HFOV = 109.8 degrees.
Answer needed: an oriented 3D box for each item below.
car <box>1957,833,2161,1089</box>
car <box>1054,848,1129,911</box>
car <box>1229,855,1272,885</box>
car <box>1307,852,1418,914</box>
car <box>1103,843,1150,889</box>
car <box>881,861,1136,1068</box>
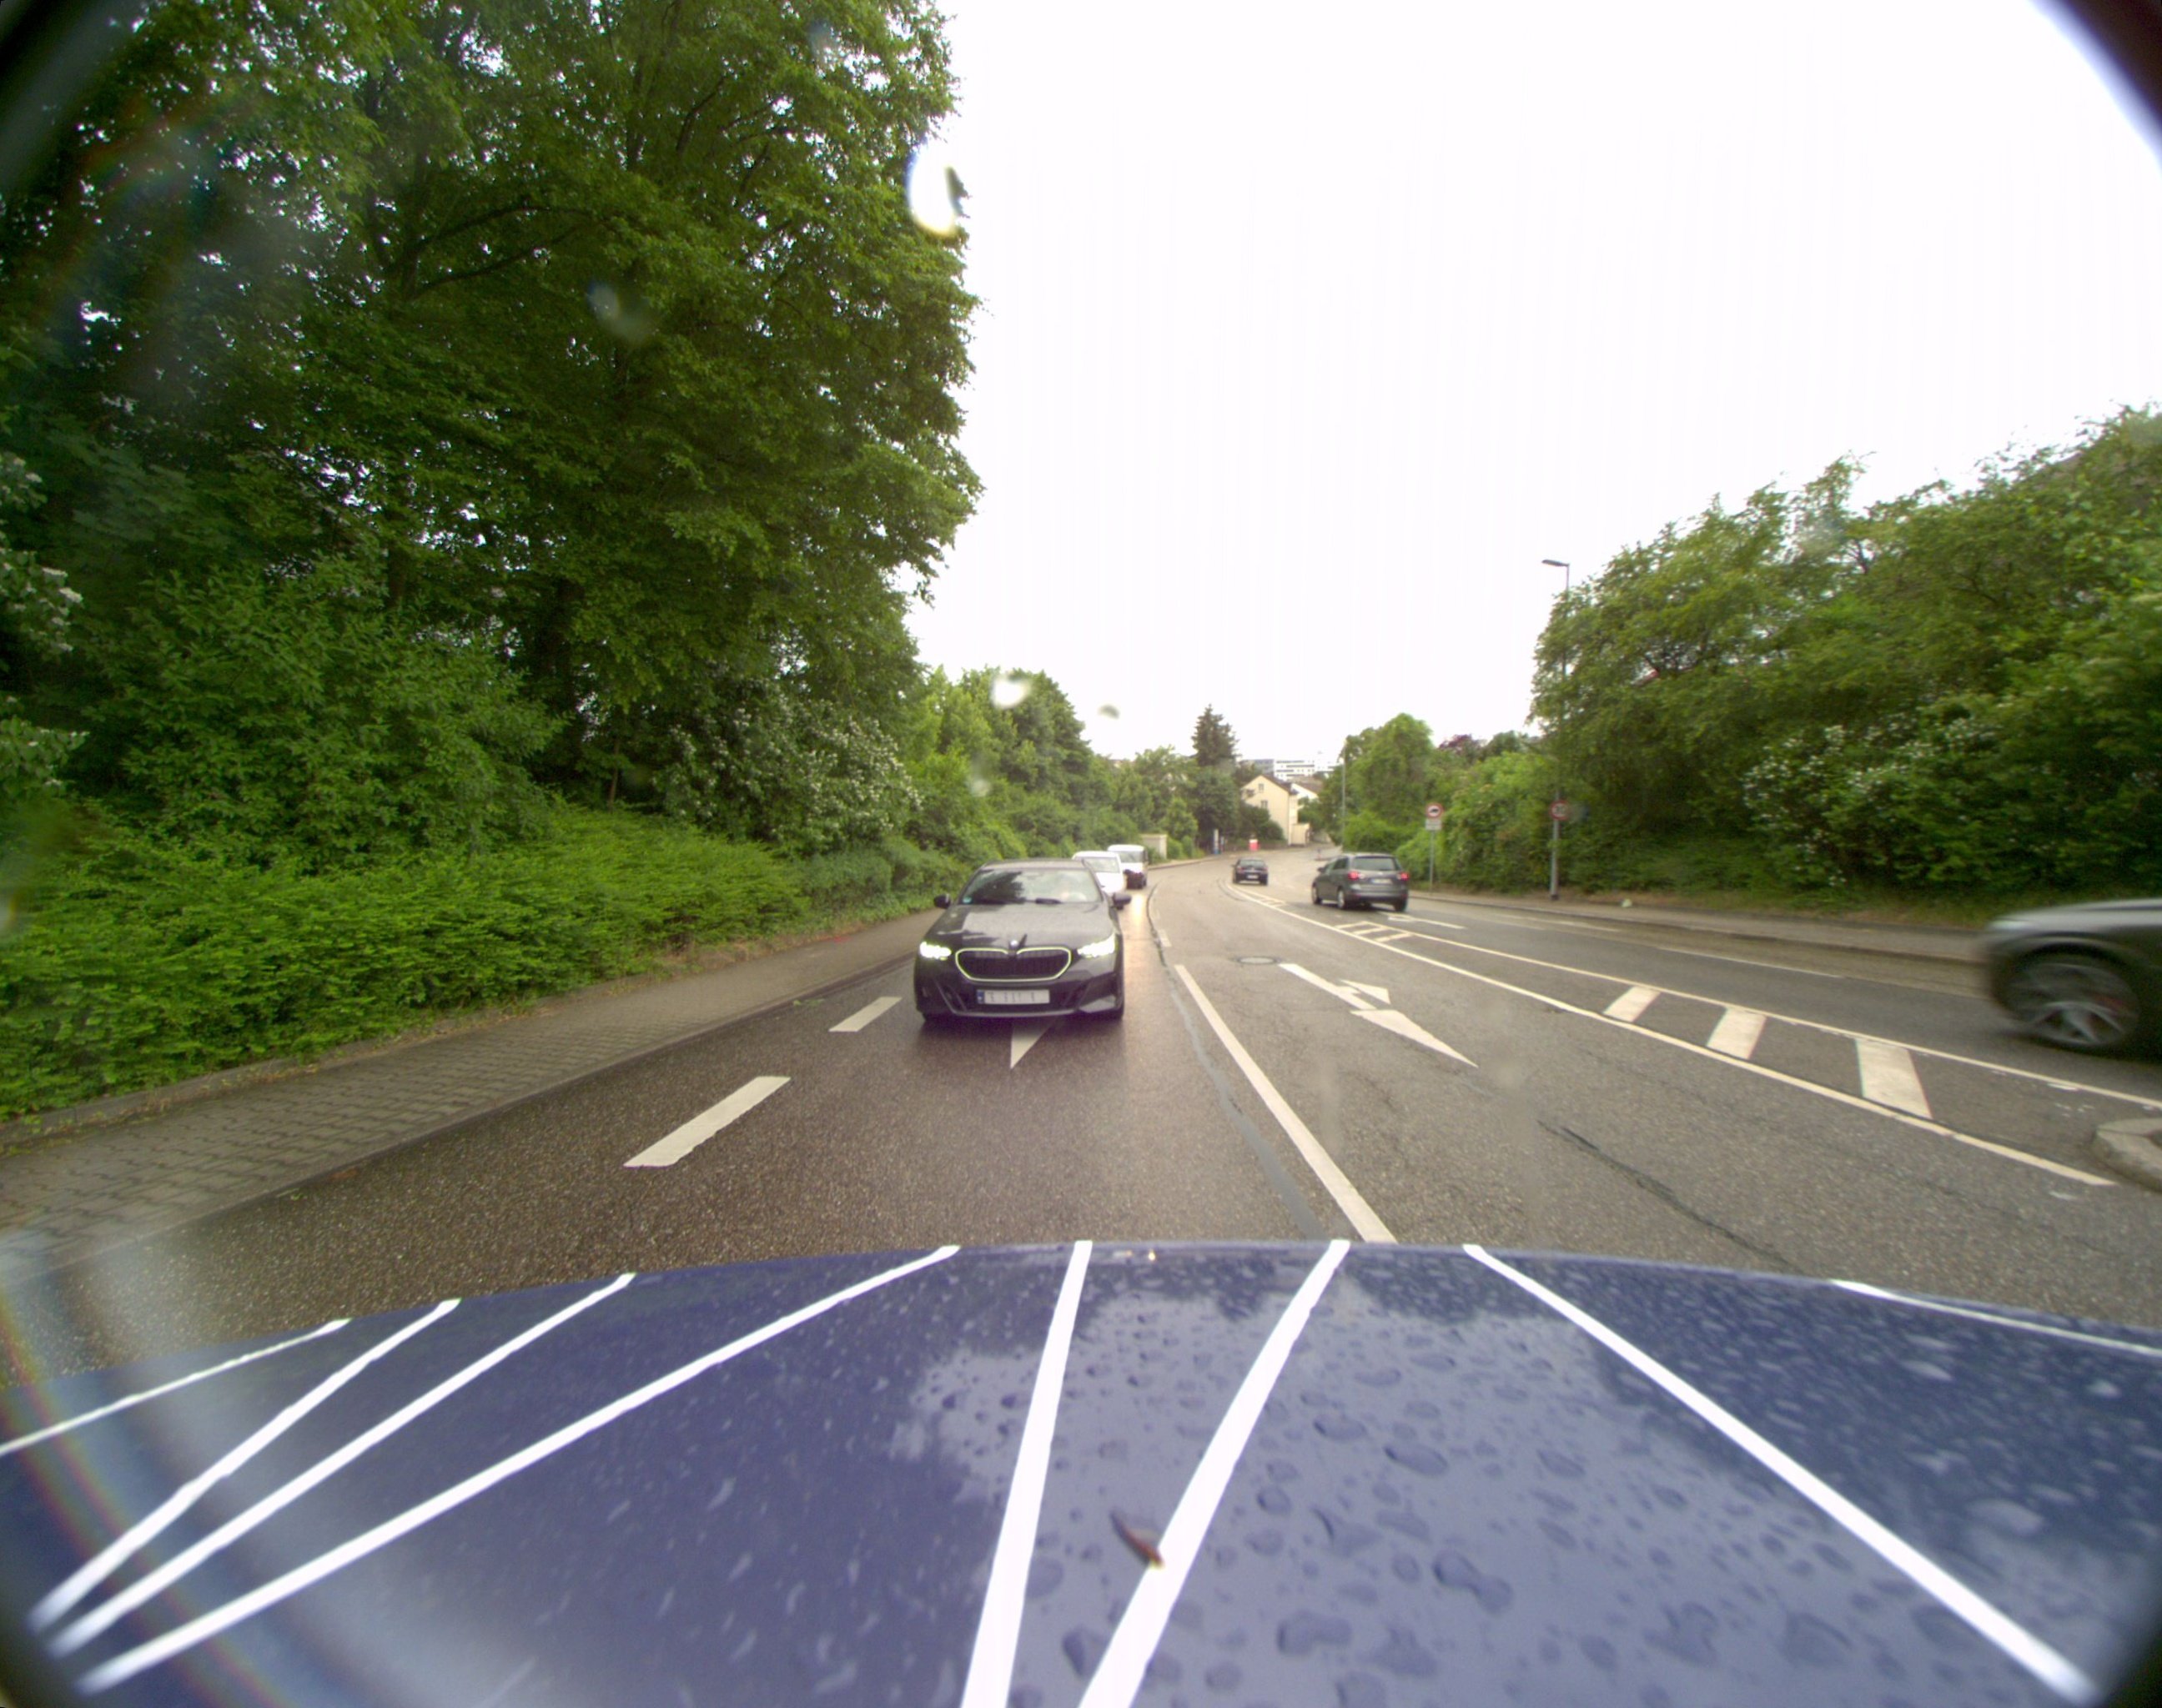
[{"bbox_3d":[8.243,0.727,3.891,1.999,1.707,4.716,0,0,-1],"label":"car"},{"bbox_3d":[0.271,0.643,21.302,1.818,1.431,3.999,3,2,0],"label":"car"},{"bbox_3d":[9.190,0.822,41.434,1.899,1.500,4.002,1,0,7],"label":"car"},{"bbox_3d":[7.913,0.740,21.755,1.747,1.593,4.032,1,0,2],"label":"car"},{"bbox_3d":[2.042,0.469,32.984,1.777,1.765,4.001,3,2,5],"label":"car"},{"bbox_3d":[-0.448,0.892,8.157,1.871,1.497,4.199,1,1,6],"label":"car"}]
